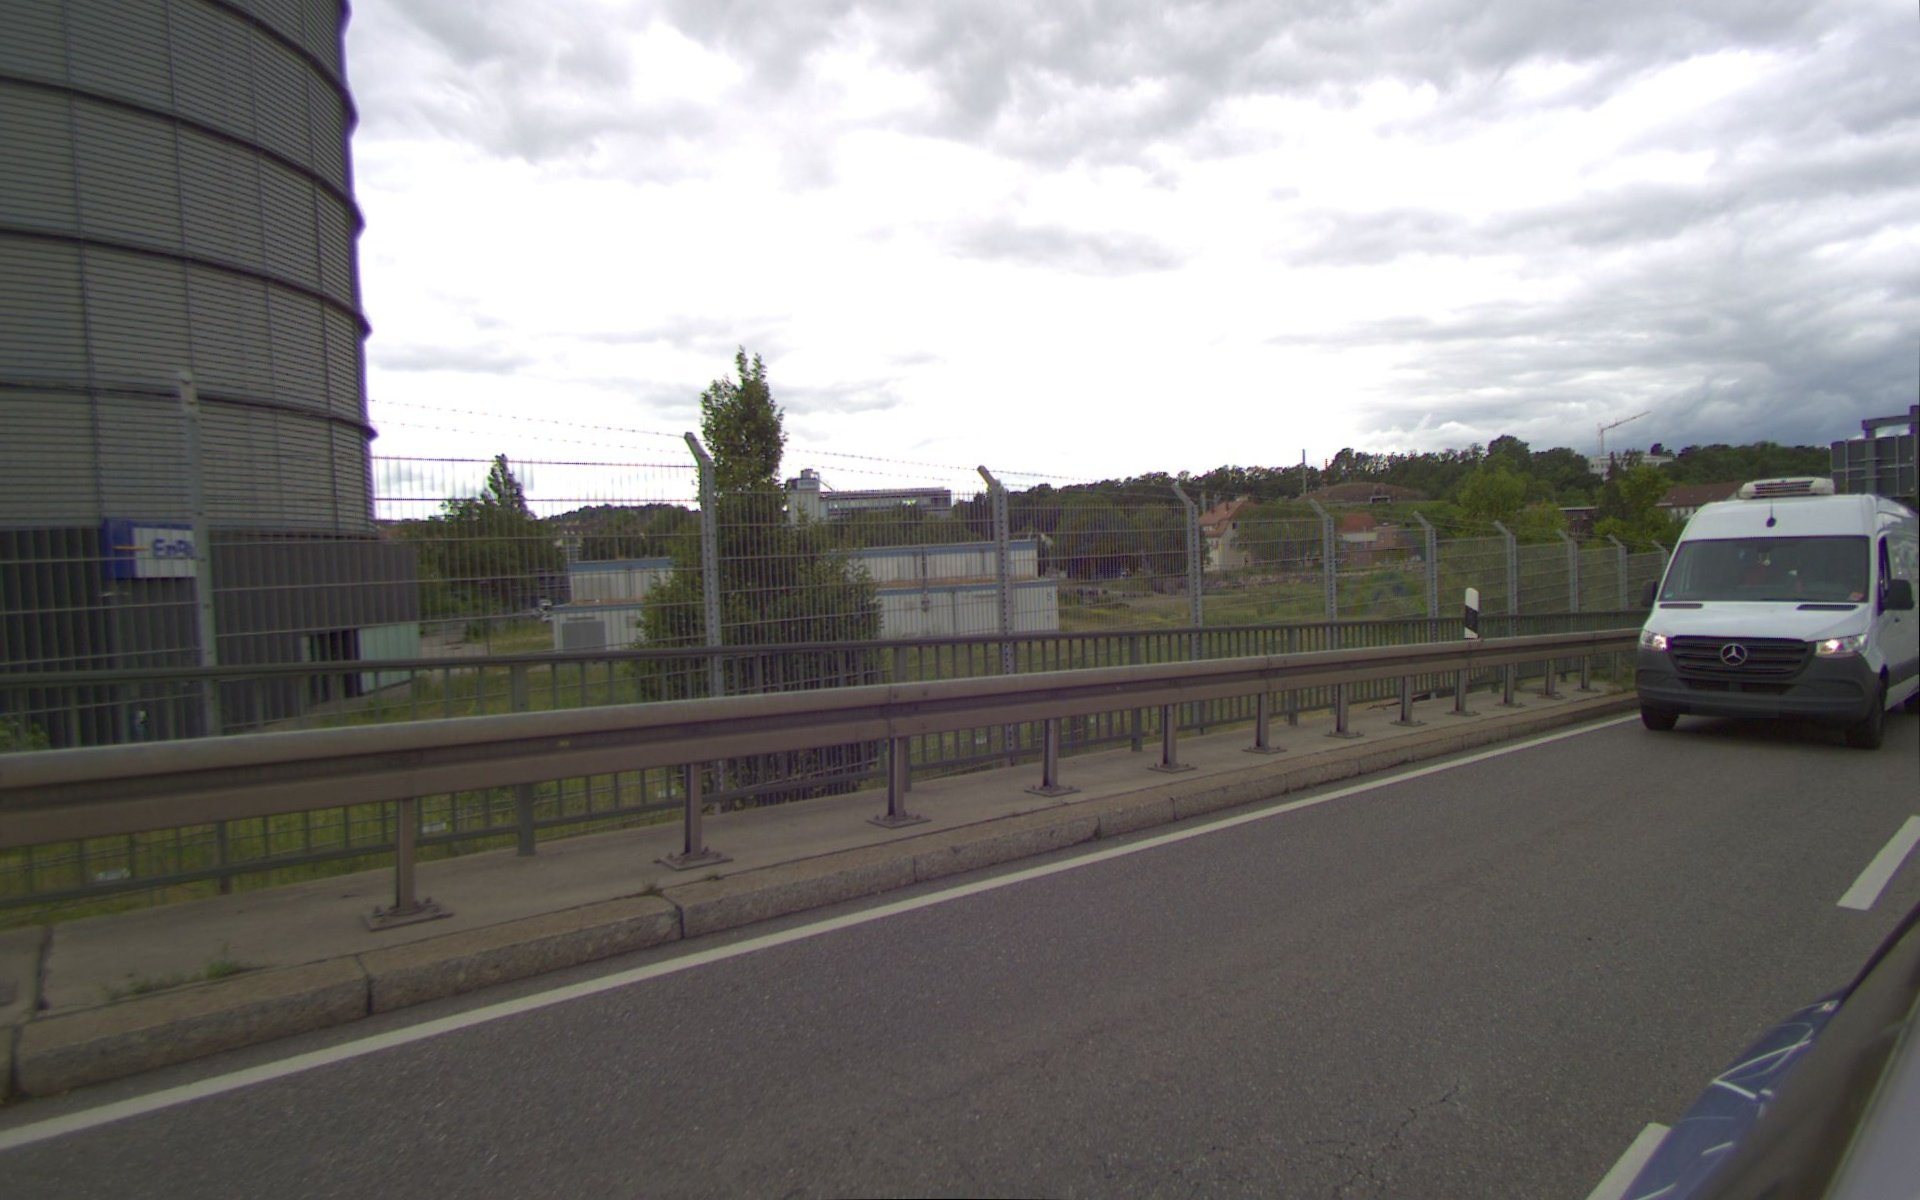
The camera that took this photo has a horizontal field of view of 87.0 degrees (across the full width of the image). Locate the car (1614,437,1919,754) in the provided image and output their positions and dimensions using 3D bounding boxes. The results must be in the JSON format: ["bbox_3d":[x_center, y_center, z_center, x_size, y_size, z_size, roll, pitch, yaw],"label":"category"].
[{"bbox_3d":[10.122,-0.114,11.967,6.659,2.818,2.115,-1,1,-40],"label":"car"}]
